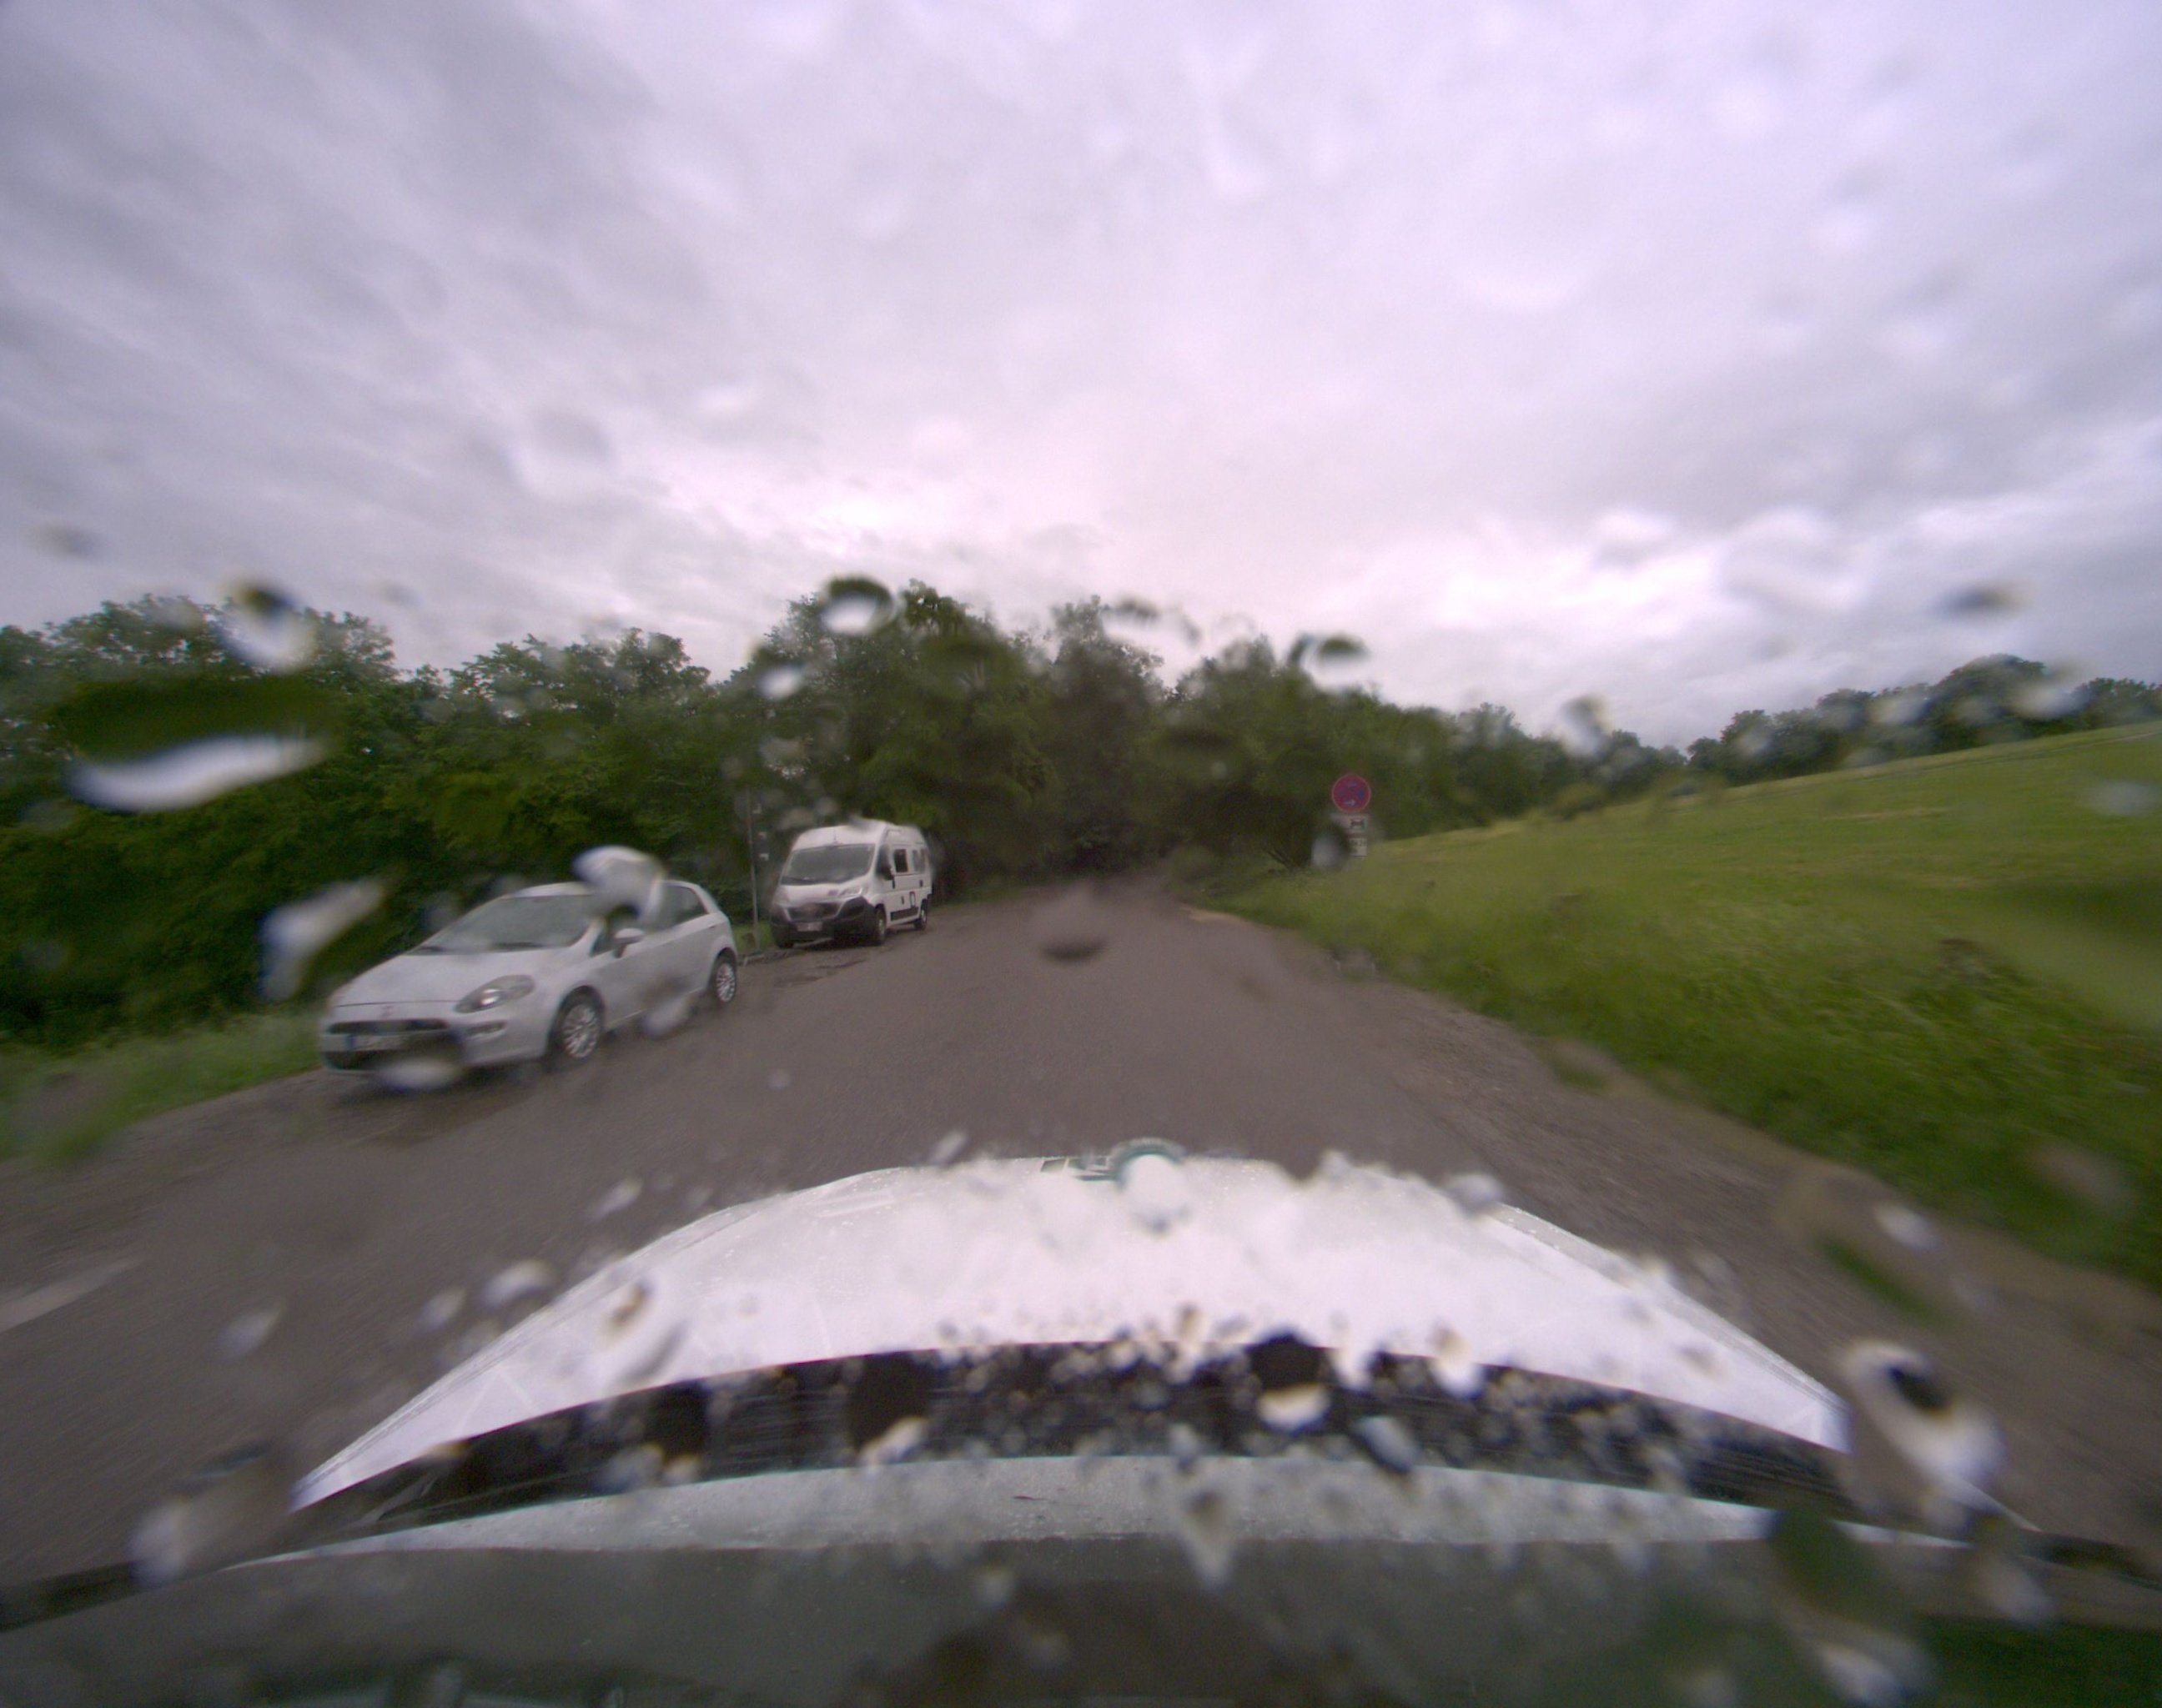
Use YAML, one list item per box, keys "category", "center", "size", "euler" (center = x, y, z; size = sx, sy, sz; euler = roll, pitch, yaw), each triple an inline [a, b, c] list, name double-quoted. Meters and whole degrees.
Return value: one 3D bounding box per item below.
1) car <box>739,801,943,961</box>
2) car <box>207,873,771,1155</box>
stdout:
- category: "car"
  center: [-4.819, 0.439, 17.635]
  size: [2.264, 2.696, 6.051]
  euler: [-5, 1, 1]
- category: "car"
  center: [-4.823, 1.129, 7.705]
  size: [1.854, 1.595, 4.497]
  euler: [-4, 1, 2]
